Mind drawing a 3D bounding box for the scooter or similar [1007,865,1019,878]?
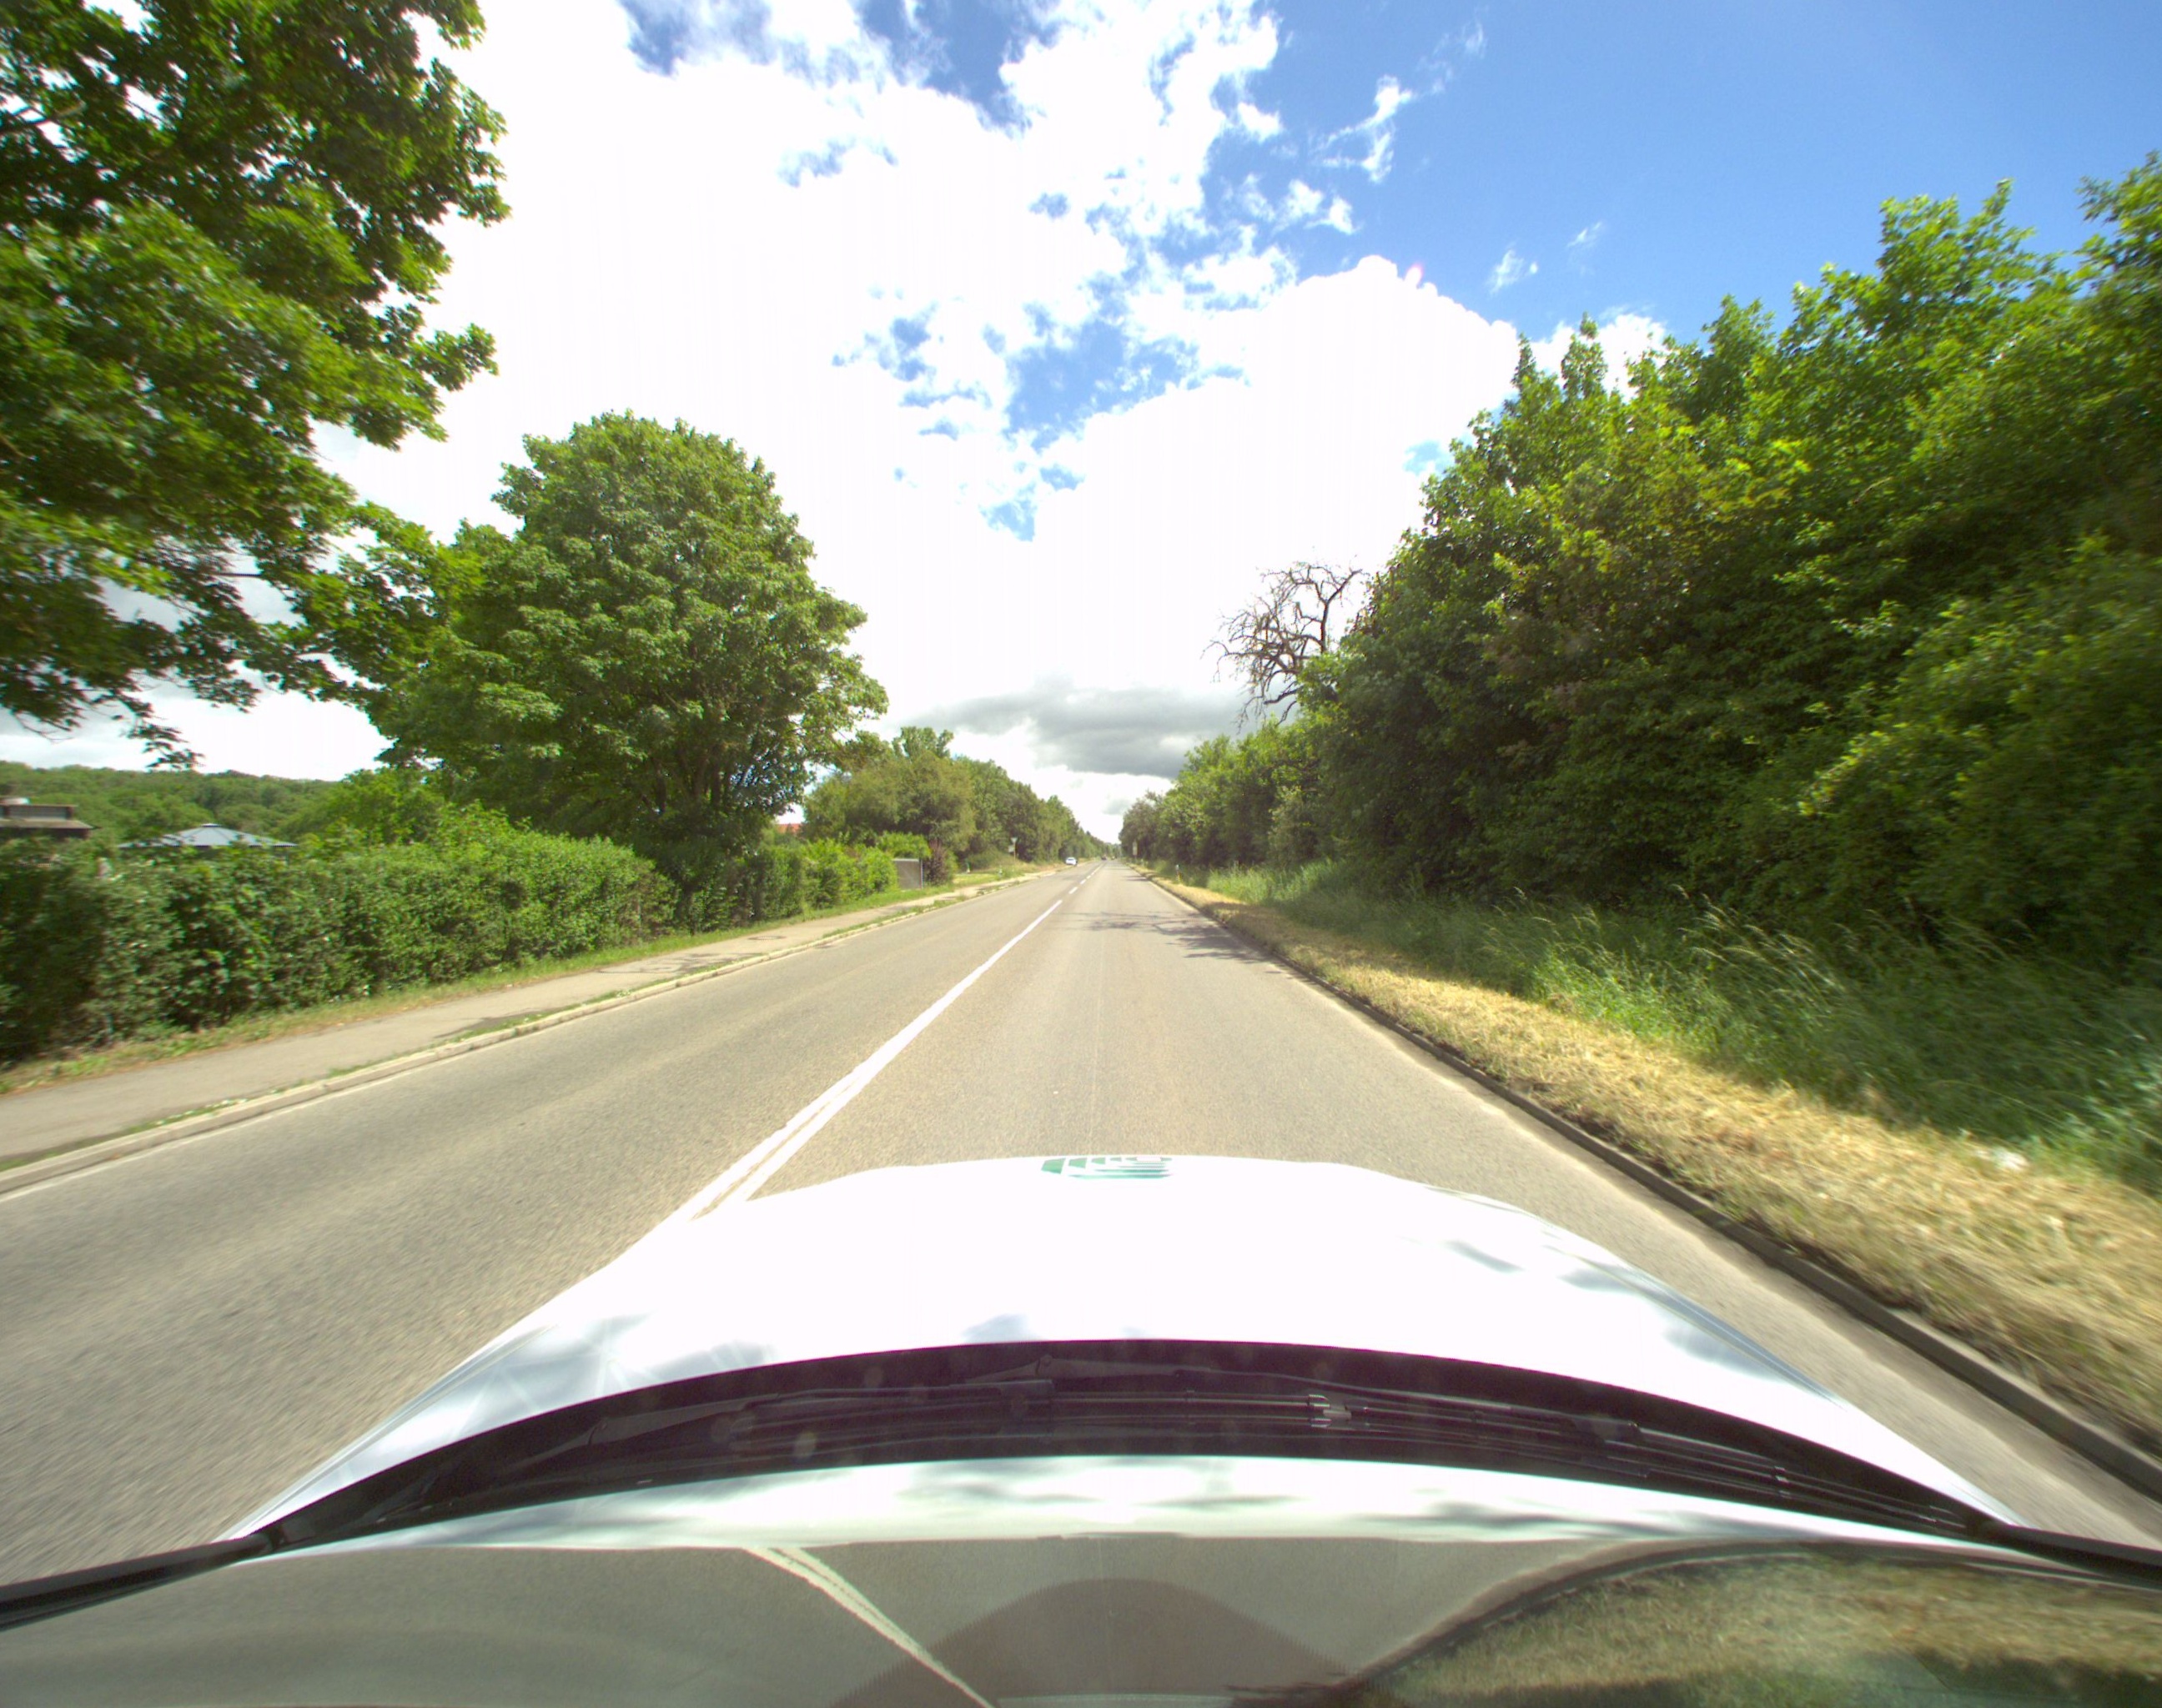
[{"bbox_3d":[-6.459,1.638,76.909,0.409,1.169,1.335,0,-1,-41],"label":"scooter or similar"}]

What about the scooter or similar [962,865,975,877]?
[{"bbox_3d":[-11.707,1.759,84.794,1.234,1.169,0.408,-1,-1,14],"label":"scooter or similar"}]

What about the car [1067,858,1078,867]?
[{"bbox_3d":[-1.514,1.594,152.249,1.791,1.543,3.956,-2,-2,2],"label":"car"}]
